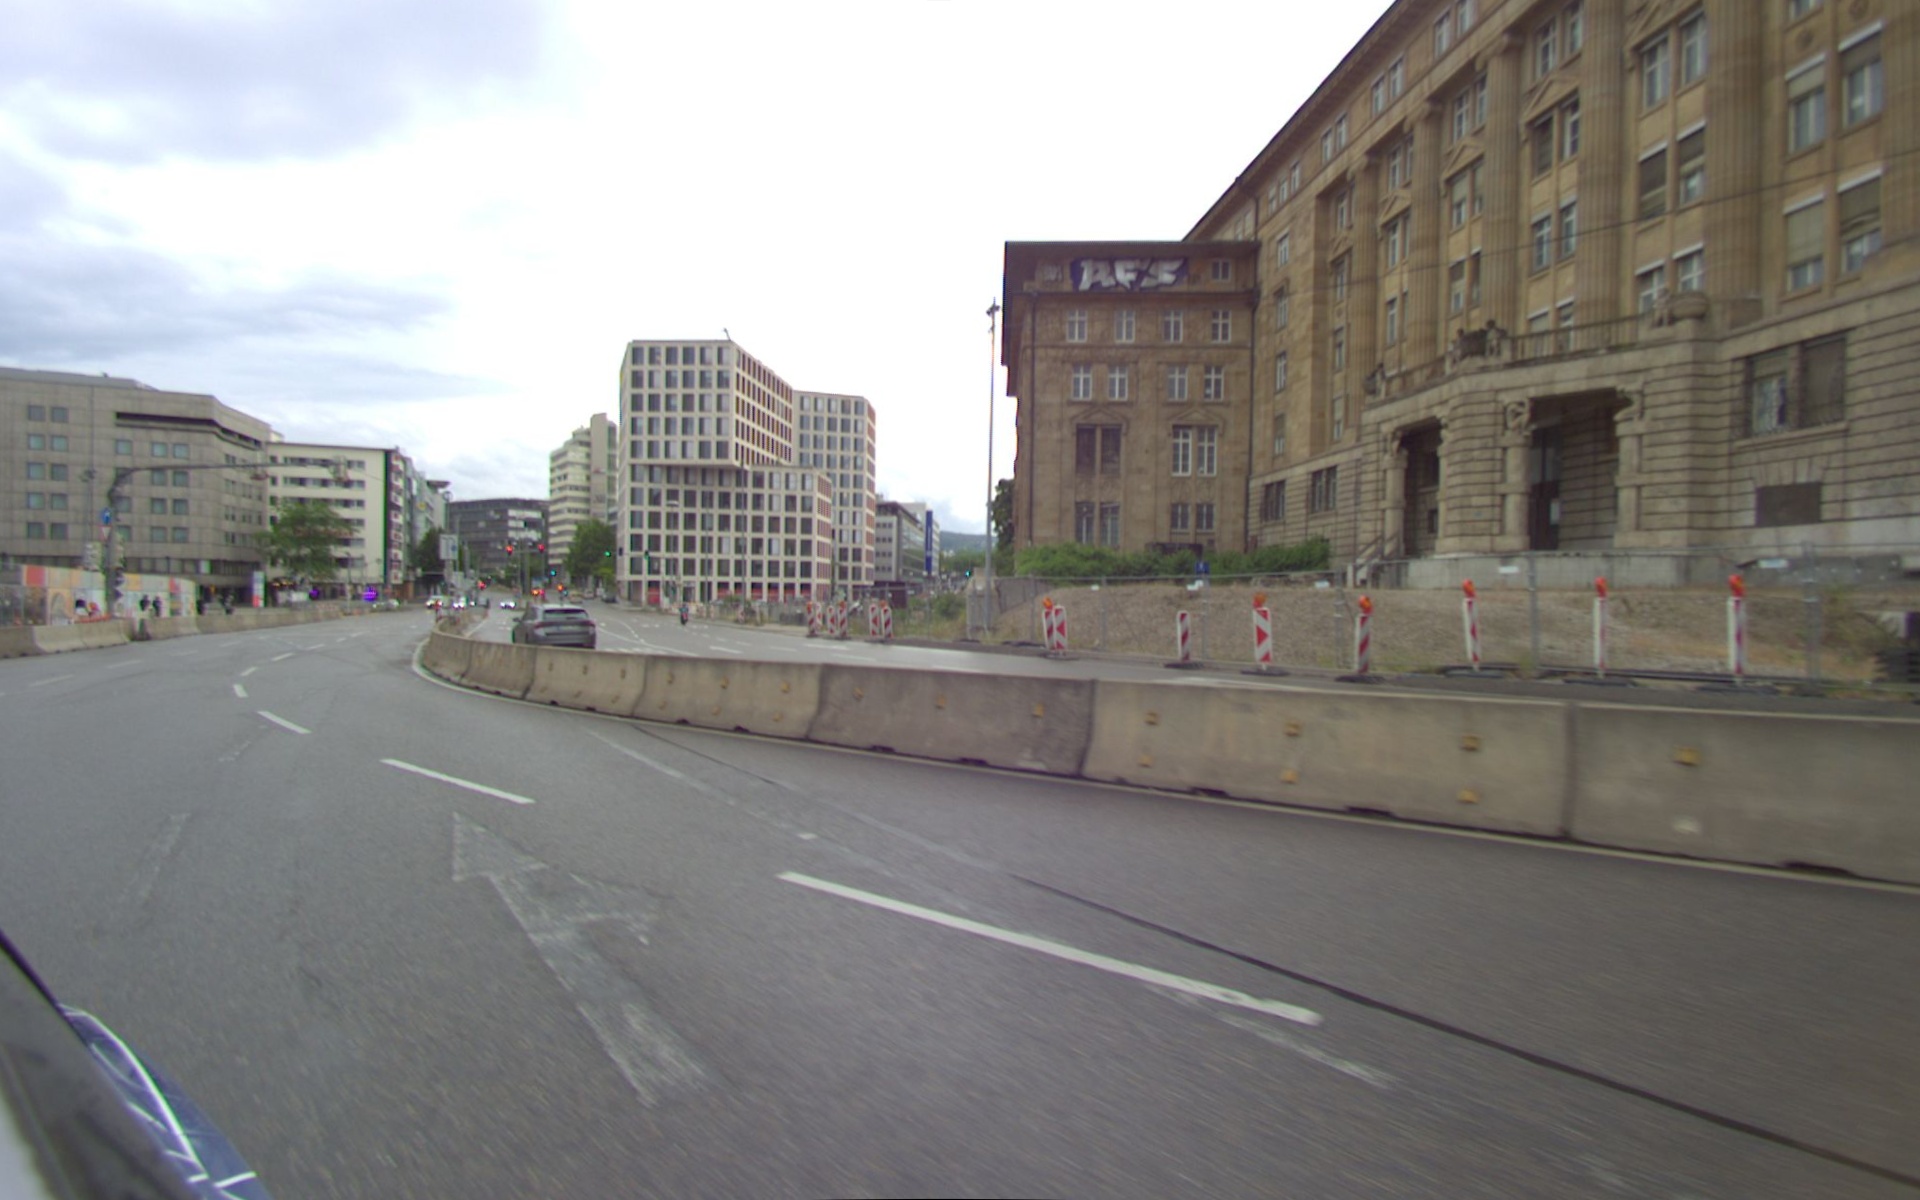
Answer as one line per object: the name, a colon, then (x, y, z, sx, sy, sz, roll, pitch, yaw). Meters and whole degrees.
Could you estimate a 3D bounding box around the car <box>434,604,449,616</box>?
car: (-79.337, 1.479, 154.818, 1.965, 1.863, 4.013, 1, -1, -28)

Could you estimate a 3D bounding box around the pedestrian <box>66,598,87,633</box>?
pedestrian: (-42.886, 0.750, 49.125, 0.638, 1.682, 0.767, 3, -2, -38)

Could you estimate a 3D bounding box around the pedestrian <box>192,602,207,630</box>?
pedestrian: (-50.016, 1.057, 66.569, 0.745, 1.774, 0.767, 3, -2, -38)

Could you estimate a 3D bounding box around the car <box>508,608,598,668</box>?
car: (-11.612, 1.014, 28.706, 1.742, 1.533, 4.400, 1, -1, -30)

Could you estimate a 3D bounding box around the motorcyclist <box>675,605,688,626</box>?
motorcyclist: (-20.050, 1.133, 72.830, 0.692, 1.498, 0.966, 1, -1, -28)

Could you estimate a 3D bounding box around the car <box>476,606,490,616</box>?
car: (-69.739, 1.648, 147.866, 1.680, 1.464, 3.808, 1, -1, -28)

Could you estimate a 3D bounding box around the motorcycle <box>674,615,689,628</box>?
motorcycle: (-20.027, 1.557, 72.781, 0.692, 0.899, 1.828, 1, -1, -28)

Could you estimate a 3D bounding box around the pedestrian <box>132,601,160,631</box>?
pedestrian: (-49.878, 0.967, 62.044, 1.081, 1.774, 0.909, 2, -2, -23)

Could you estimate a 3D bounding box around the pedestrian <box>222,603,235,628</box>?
pedestrian: (-52.843, 1.124, 73.115, 0.643, 1.774, 0.549, 3, -2, -38)

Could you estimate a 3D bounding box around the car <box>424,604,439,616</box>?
car: (-76.605, 1.437, 146.642, 1.965, 1.838, 4.013, 1, -1, -28)

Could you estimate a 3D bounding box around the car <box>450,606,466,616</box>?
car: (-73.047, 1.626, 147.218, 1.965, 1.464, 4.013, 1, -1, -28)

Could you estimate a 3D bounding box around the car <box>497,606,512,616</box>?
car: (-67.295, 1.643, 149.609, 1.762, 1.464, 3.684, 1, -1, -28)
